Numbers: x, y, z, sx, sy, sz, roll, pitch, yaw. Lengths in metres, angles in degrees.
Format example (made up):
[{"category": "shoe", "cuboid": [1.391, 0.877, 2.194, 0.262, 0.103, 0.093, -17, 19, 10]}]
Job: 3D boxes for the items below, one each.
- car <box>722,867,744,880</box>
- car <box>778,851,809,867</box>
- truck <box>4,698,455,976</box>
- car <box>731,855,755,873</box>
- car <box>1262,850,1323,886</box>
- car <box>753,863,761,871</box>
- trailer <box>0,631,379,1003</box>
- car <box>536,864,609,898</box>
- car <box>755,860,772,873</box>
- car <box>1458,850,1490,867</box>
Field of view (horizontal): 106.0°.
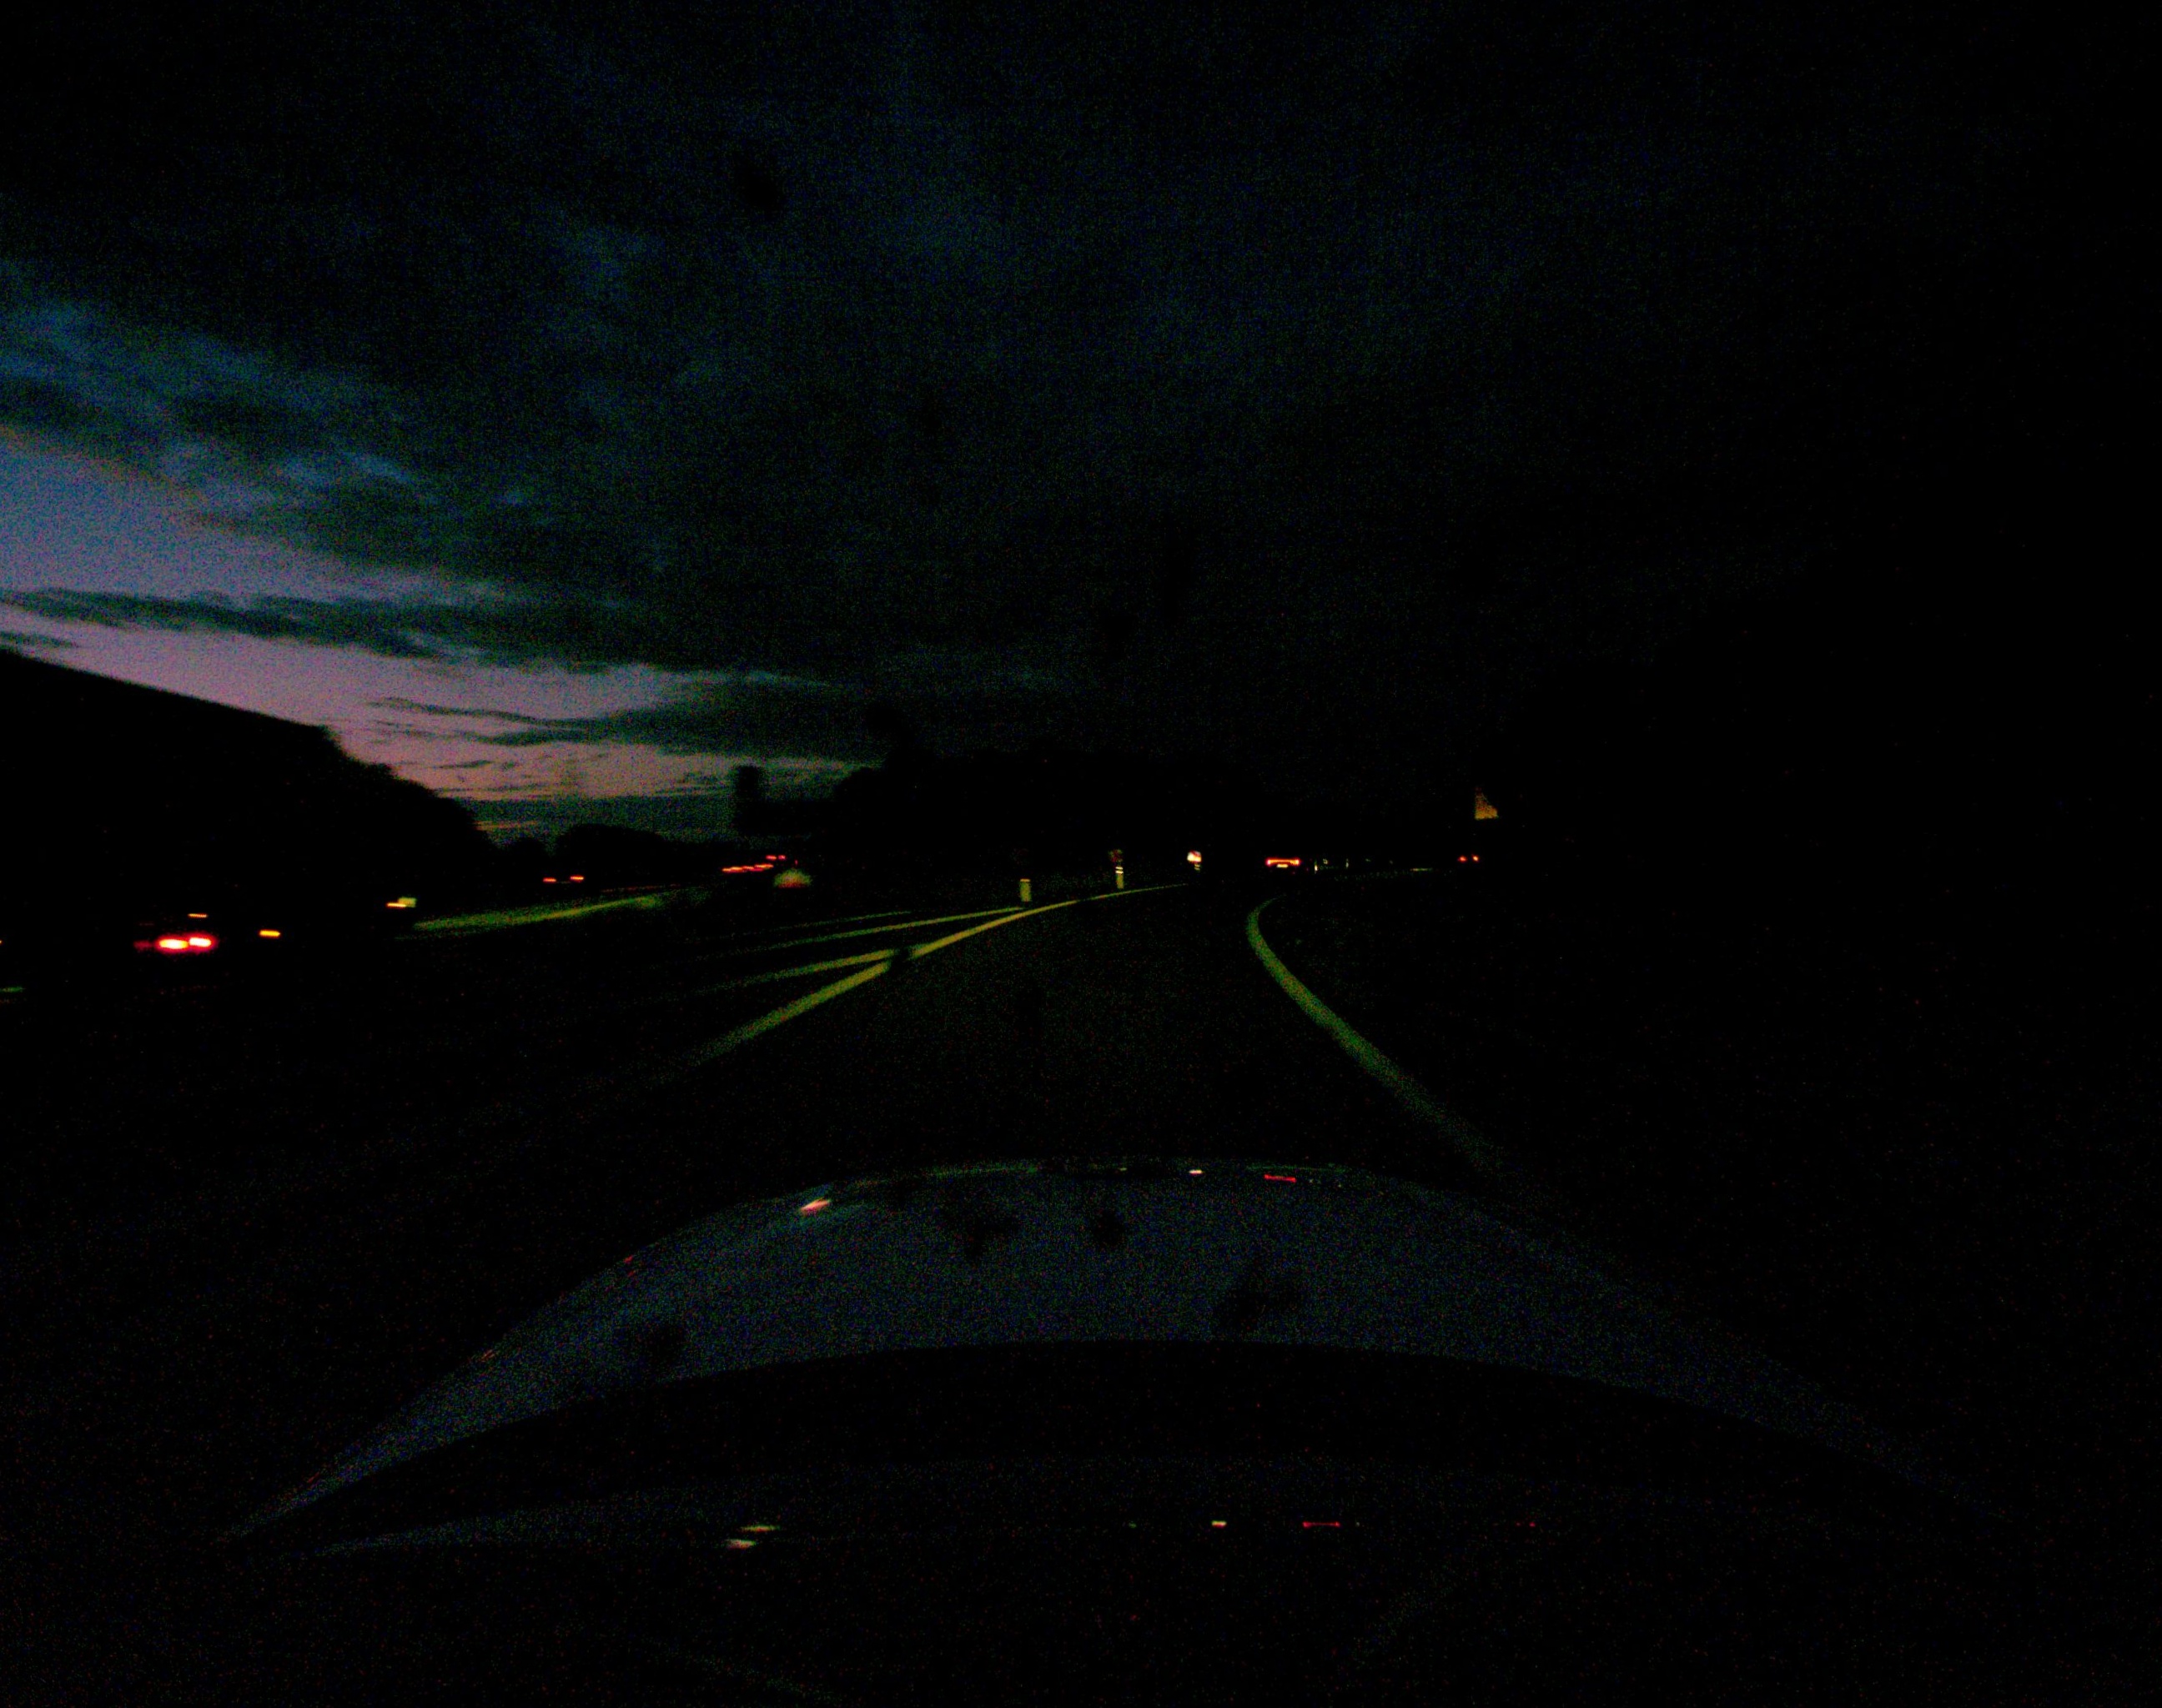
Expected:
[{"category": "car", "cuboid": [-53.281, 2.925, 124.758, 1.994, 1.642, 4.538, -4, 1, -11]}, {"category": "car", "cuboid": [-38.818, 0.661, 109.934, 2.281, 2.013, 5.084, -2, 1, -41]}, {"category": "truck", "cuboid": [-14.653, -0.327, 14.909, 2.786, 3.901, 6.119, -4, 1, -17]}, {"category": "car", "cuboid": [-41.263, 1.156, 99.539, 1.997, 2.013, 3.981, -4, 1, -14]}, {"category": "car", "cuboid": [10.808, 0.669, 41.376, 1.975, 1.659, 4.341, 0, 0, 29]}, {"category": "car", "cuboid": [-94.114, 3.856, 236.577, 2.113, 2.013, 3.971, -5, 2, -21]}, {"category": "trailer", "cuboid": [-12.513, -0.313, 7.700, 2.780, 3.914, 14.736, -4, 1, -16]}, {"category": "car", "cuboid": [-27.147, 1.397, 43.648, 1.997, 1.498, 4.526, -4, 1, -15]}, {"category": "car", "cuboid": [-53.860, 2.127, 138.046, 1.996, 2.013, 3.982, -4, 1, -14]}, {"category": "car", "cuboid": [38.154, 0.408, 79.052, 1.974, 1.598, 4.025, 0, 0, 38]}]
